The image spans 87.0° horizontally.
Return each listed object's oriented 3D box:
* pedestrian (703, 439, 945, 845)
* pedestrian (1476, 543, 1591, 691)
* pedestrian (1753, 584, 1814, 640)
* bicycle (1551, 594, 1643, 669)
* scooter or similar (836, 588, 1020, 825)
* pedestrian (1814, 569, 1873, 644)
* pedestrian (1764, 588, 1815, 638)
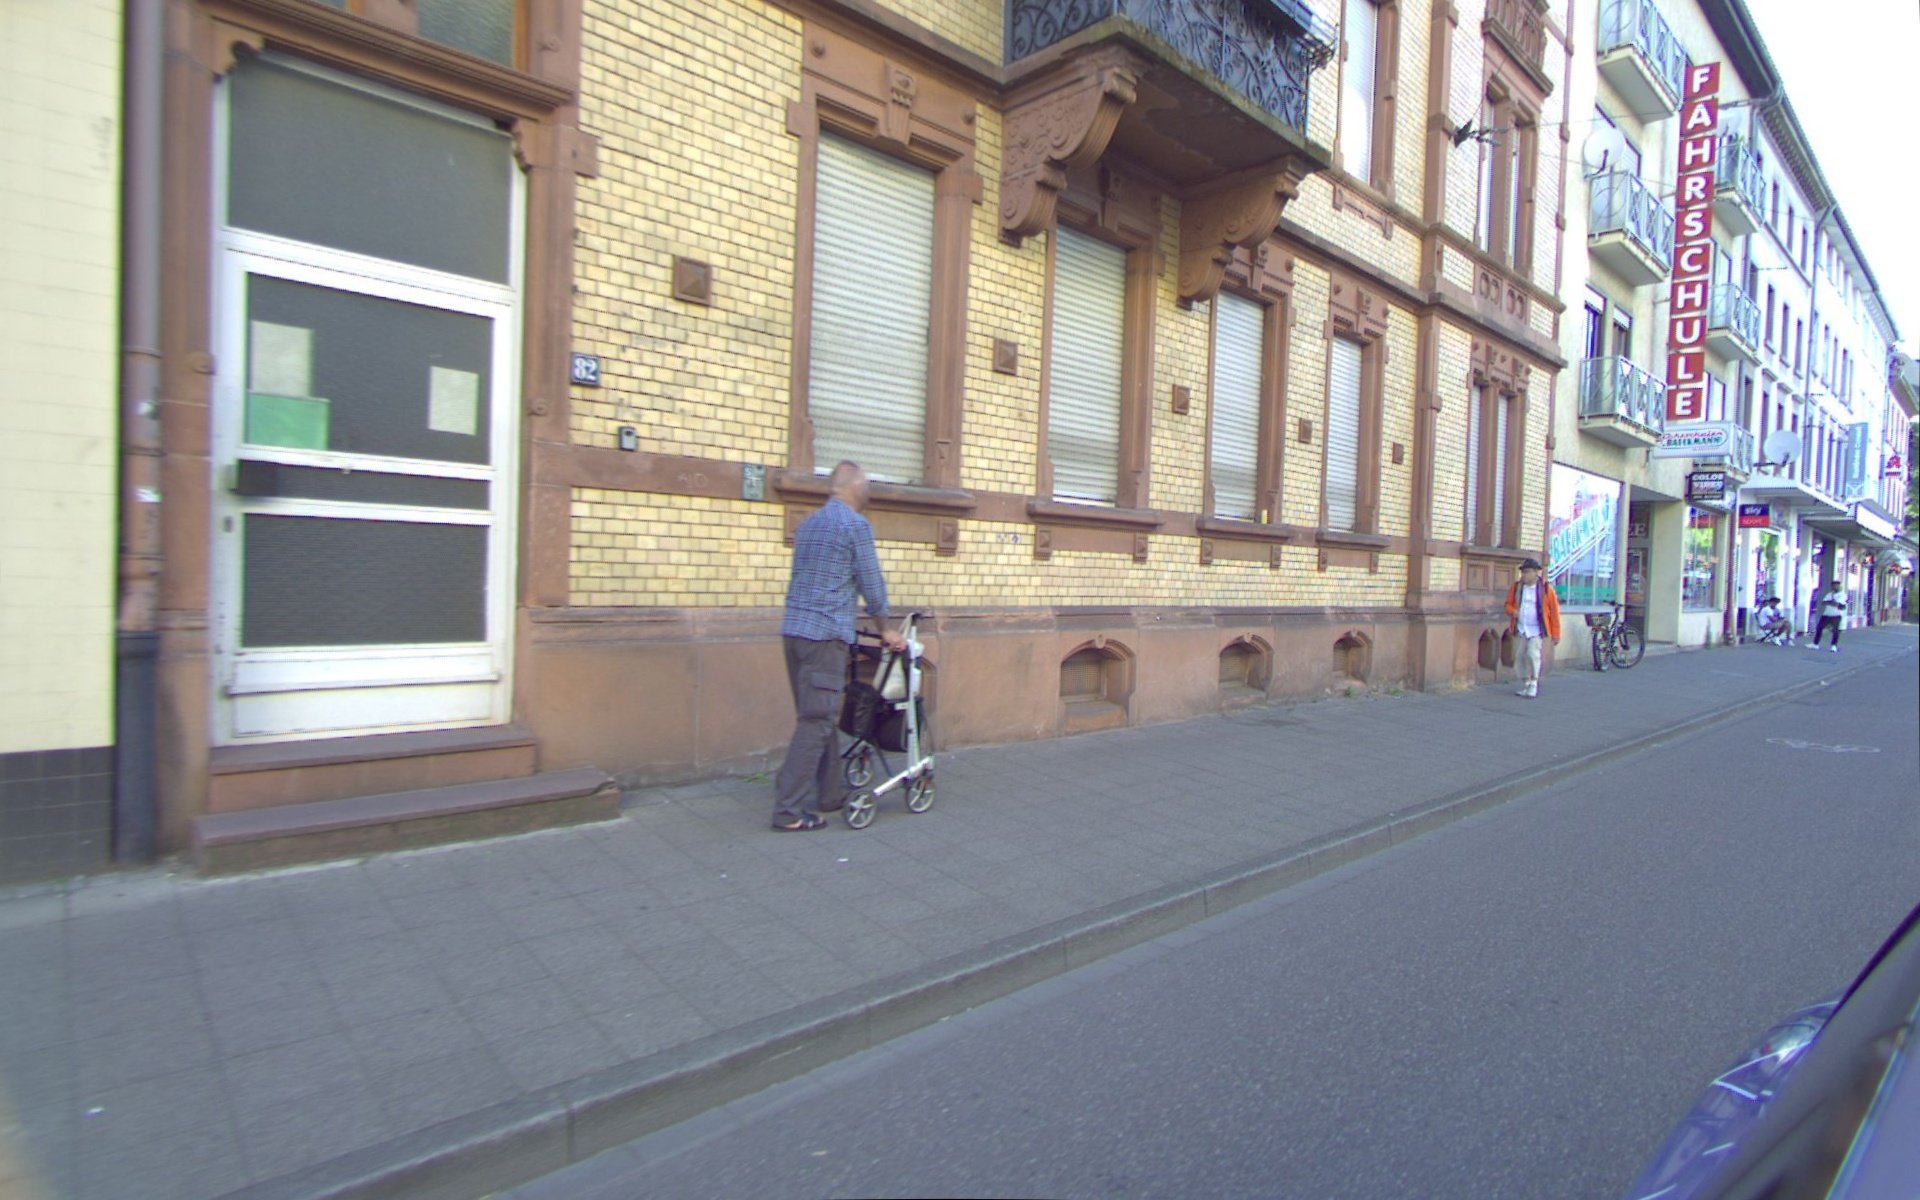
[{"bbox_3d":[-0.692,0.154,5.057,0.748,1.820,0.807,1,6,-42],"label":"pedestrian"},{"bbox_3d":[6.968,0.194,12.309,0.811,1.646,0.800,2,6,-41],"label":"pedestrian"},{"bbox_3d":[21.150,0.306,26.016,0.819,1.269,0.705,7,6,13],"label":"pedestrian"},{"bbox_3d":[10.081,0.470,15.979,2.271,1.073,0.556,0,5,-42],"label":"bicycle"},{"bbox_3d":[-0.188,0.526,5.448,0.512,1.082,0.807,0,7,-42],"label":"scooter or similar"},{"bbox_3d":[22.972,0.167,26.326,0.665,1.832,0.709,3,6,-27],"label":"pedestrian"},{"bbox_3d":[21.899,0.329,26.730,0.701,1.188,1.006,9,6,28],"label":"pedestrian"}]
